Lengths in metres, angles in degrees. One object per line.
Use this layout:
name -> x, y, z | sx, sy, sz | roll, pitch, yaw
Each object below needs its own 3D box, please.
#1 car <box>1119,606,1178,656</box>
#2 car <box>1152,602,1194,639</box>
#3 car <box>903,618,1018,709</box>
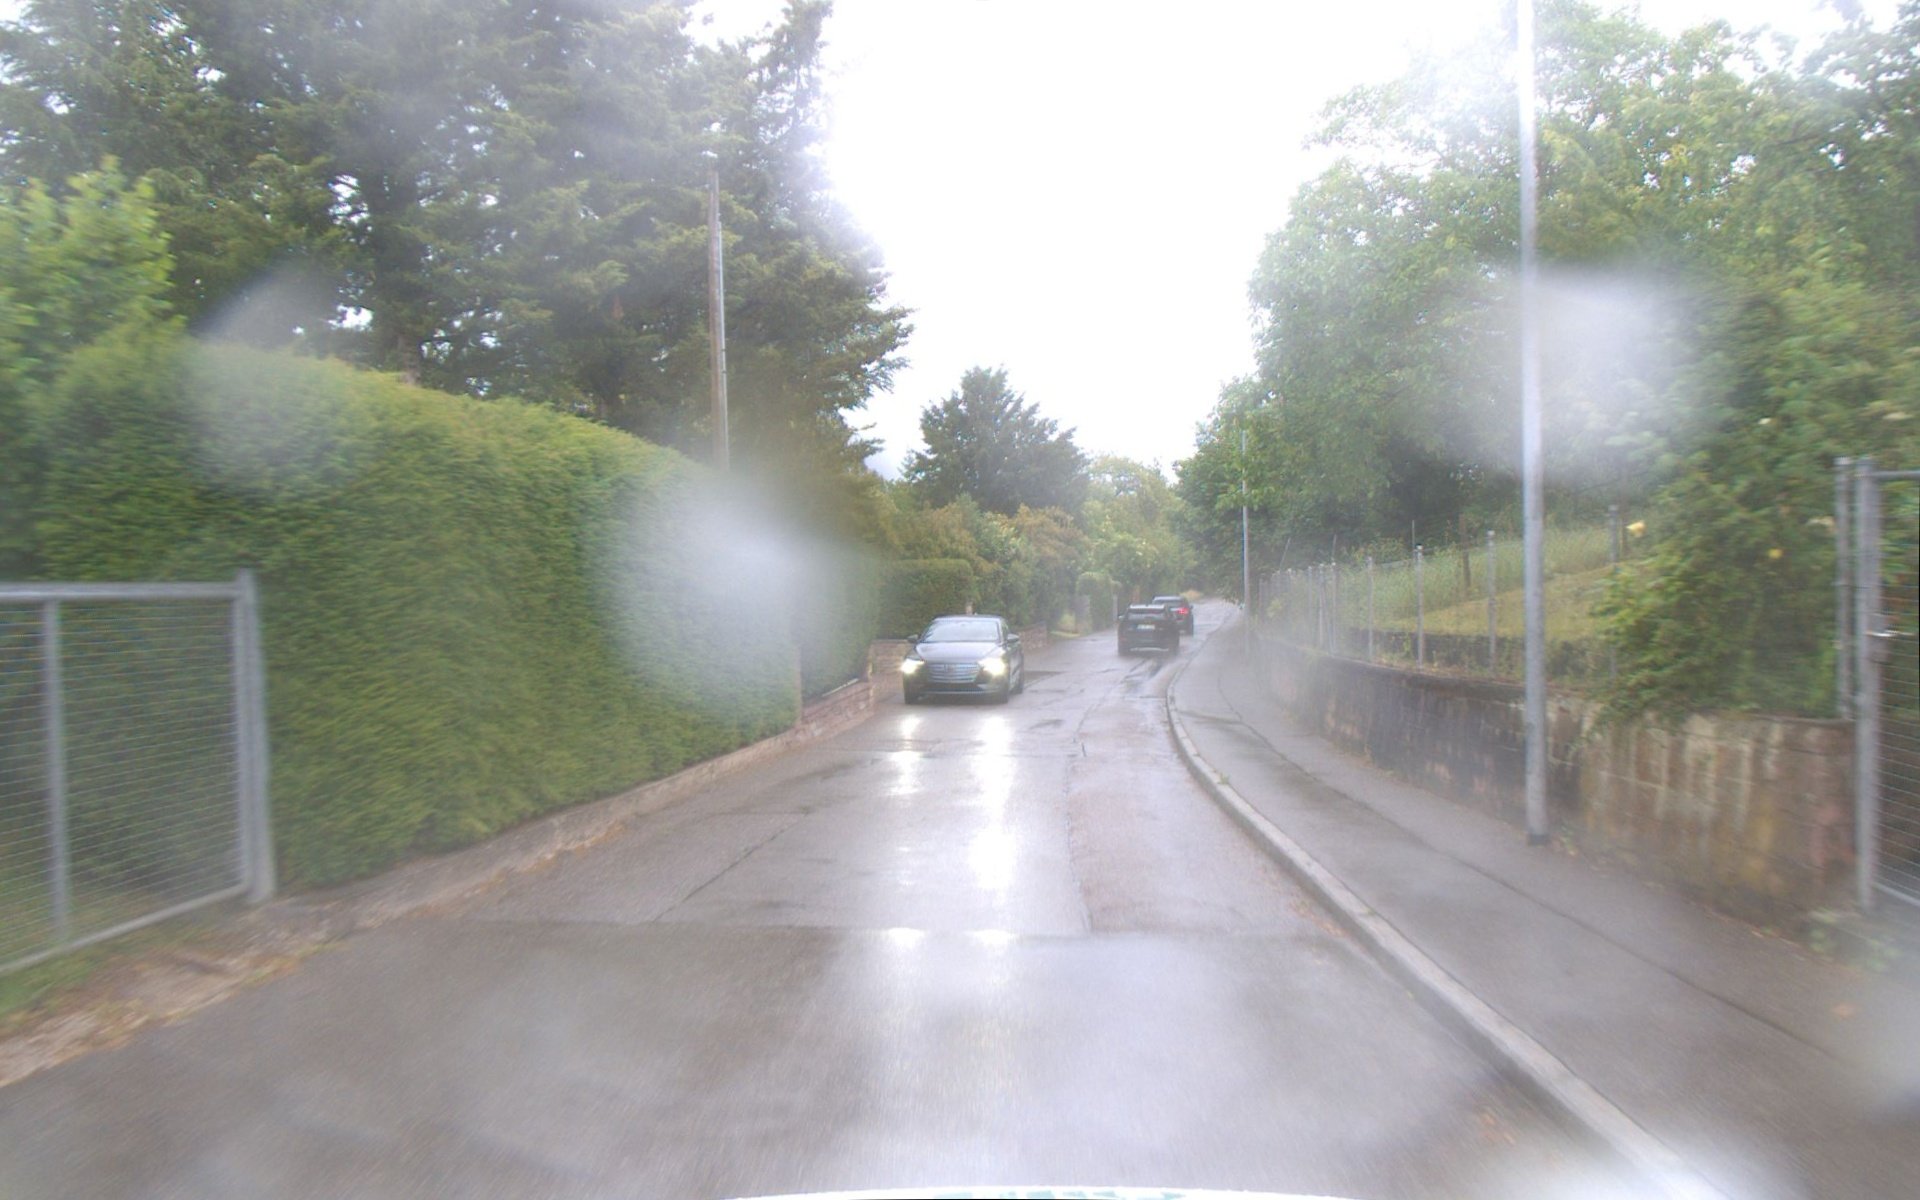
car -> 5.725, 0.923, 49.861 | 1.600, 1.475, 3.547 | 0, -1, 9
car -> 8.677, 0.827, 67.297 | 1.600, 1.439, 3.547 | 0, -1, 9
car -> 0.086, 1.117, 30.760 | 1.849, 1.550, 4.423 | 0, 0, 4
